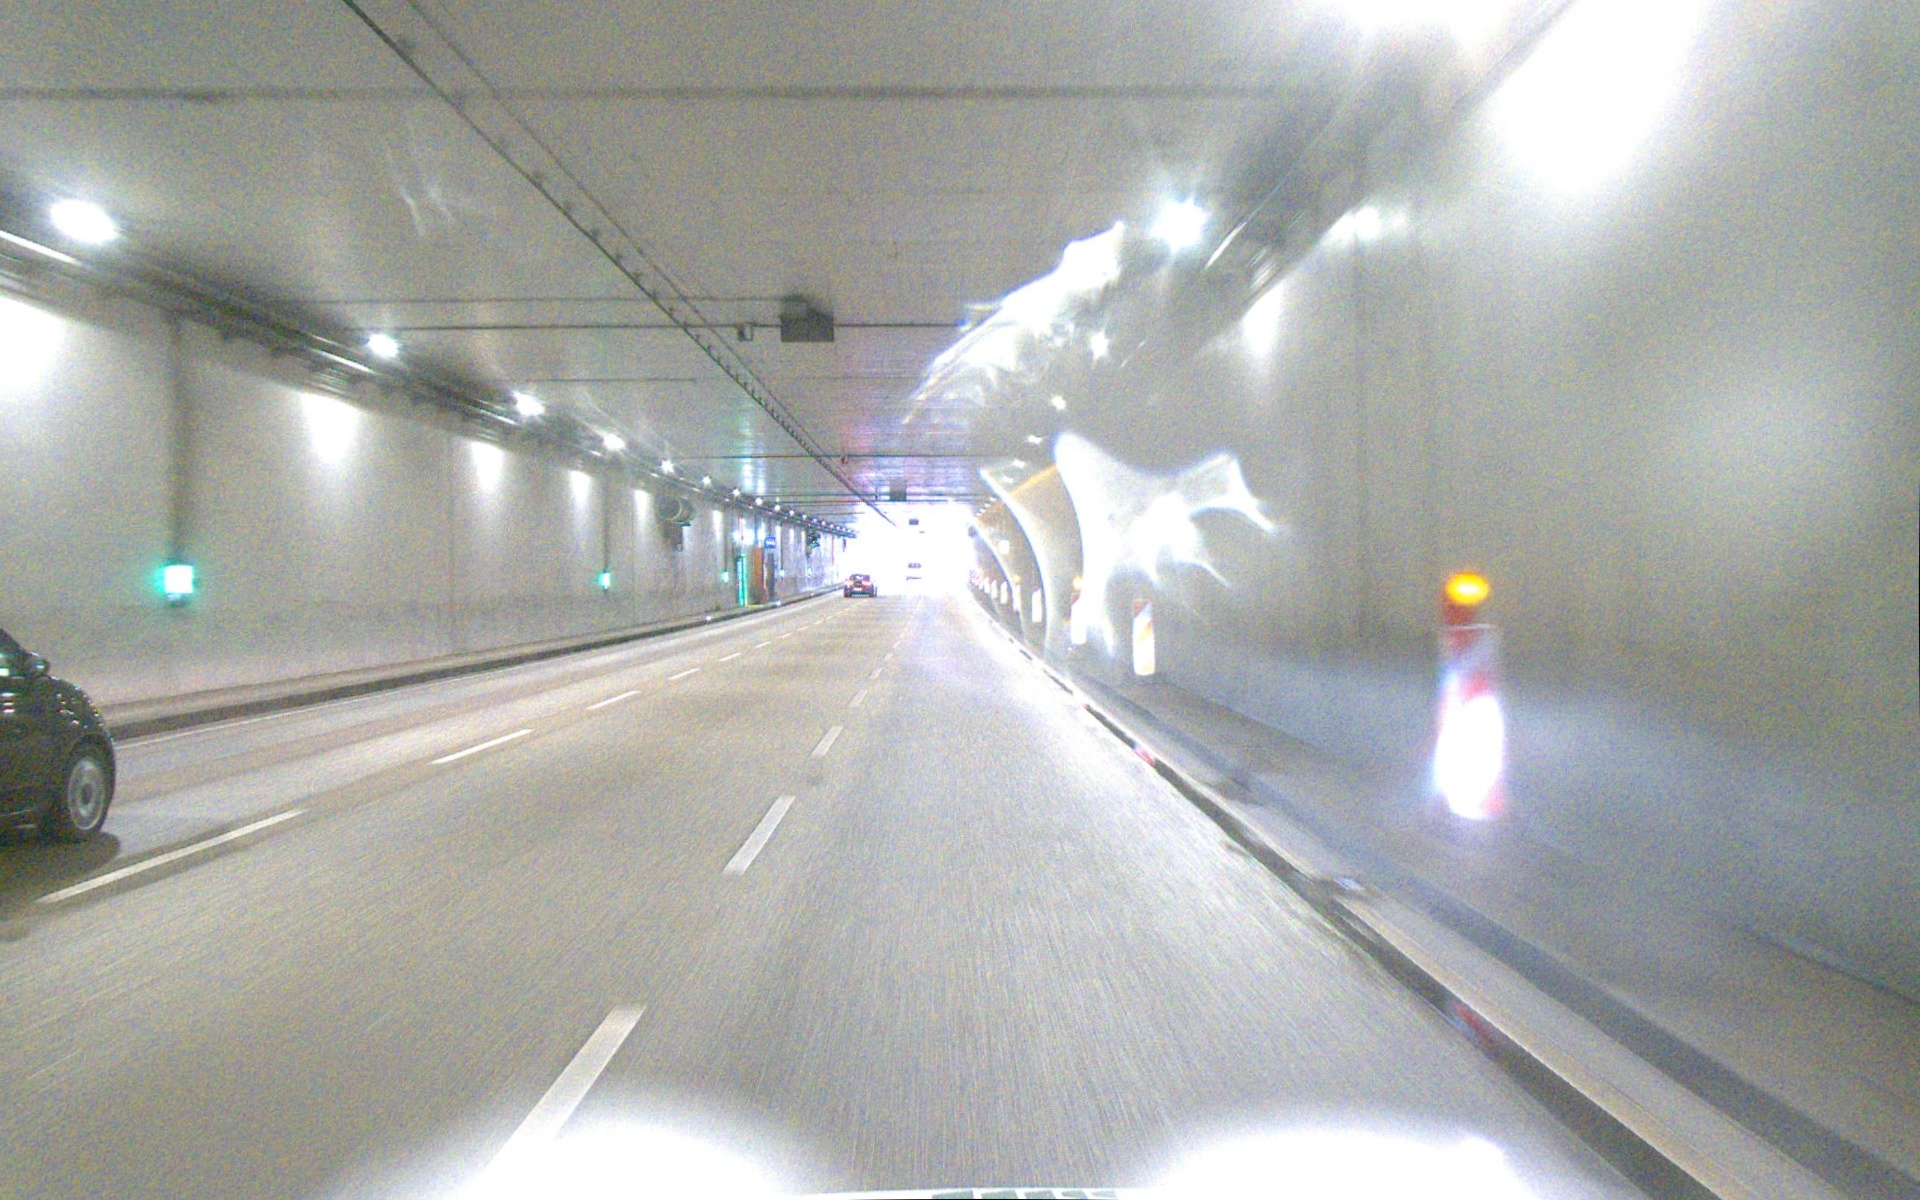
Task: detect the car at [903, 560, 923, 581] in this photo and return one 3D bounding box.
[{"bbox_3d":[-4.761,-3.013,169.052,1.953,2.049,4.000,0,0,-1],"label":"car"}]

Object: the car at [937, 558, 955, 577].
[{"bbox_3d":[-1.602,-3.622,184.875,1.953,2.049,4.000,0,0,-1],"label":"car"}]

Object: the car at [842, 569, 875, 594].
[{"bbox_3d":[-6.334,-1.152,102.428,1.954,1.473,4.311,1,1,-5],"label":"car"}]

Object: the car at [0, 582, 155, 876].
[{"bbox_3d":[-5.690,0.668,8.341,1.579,1.479,3.572,0,1,-2],"label":"car"}]
